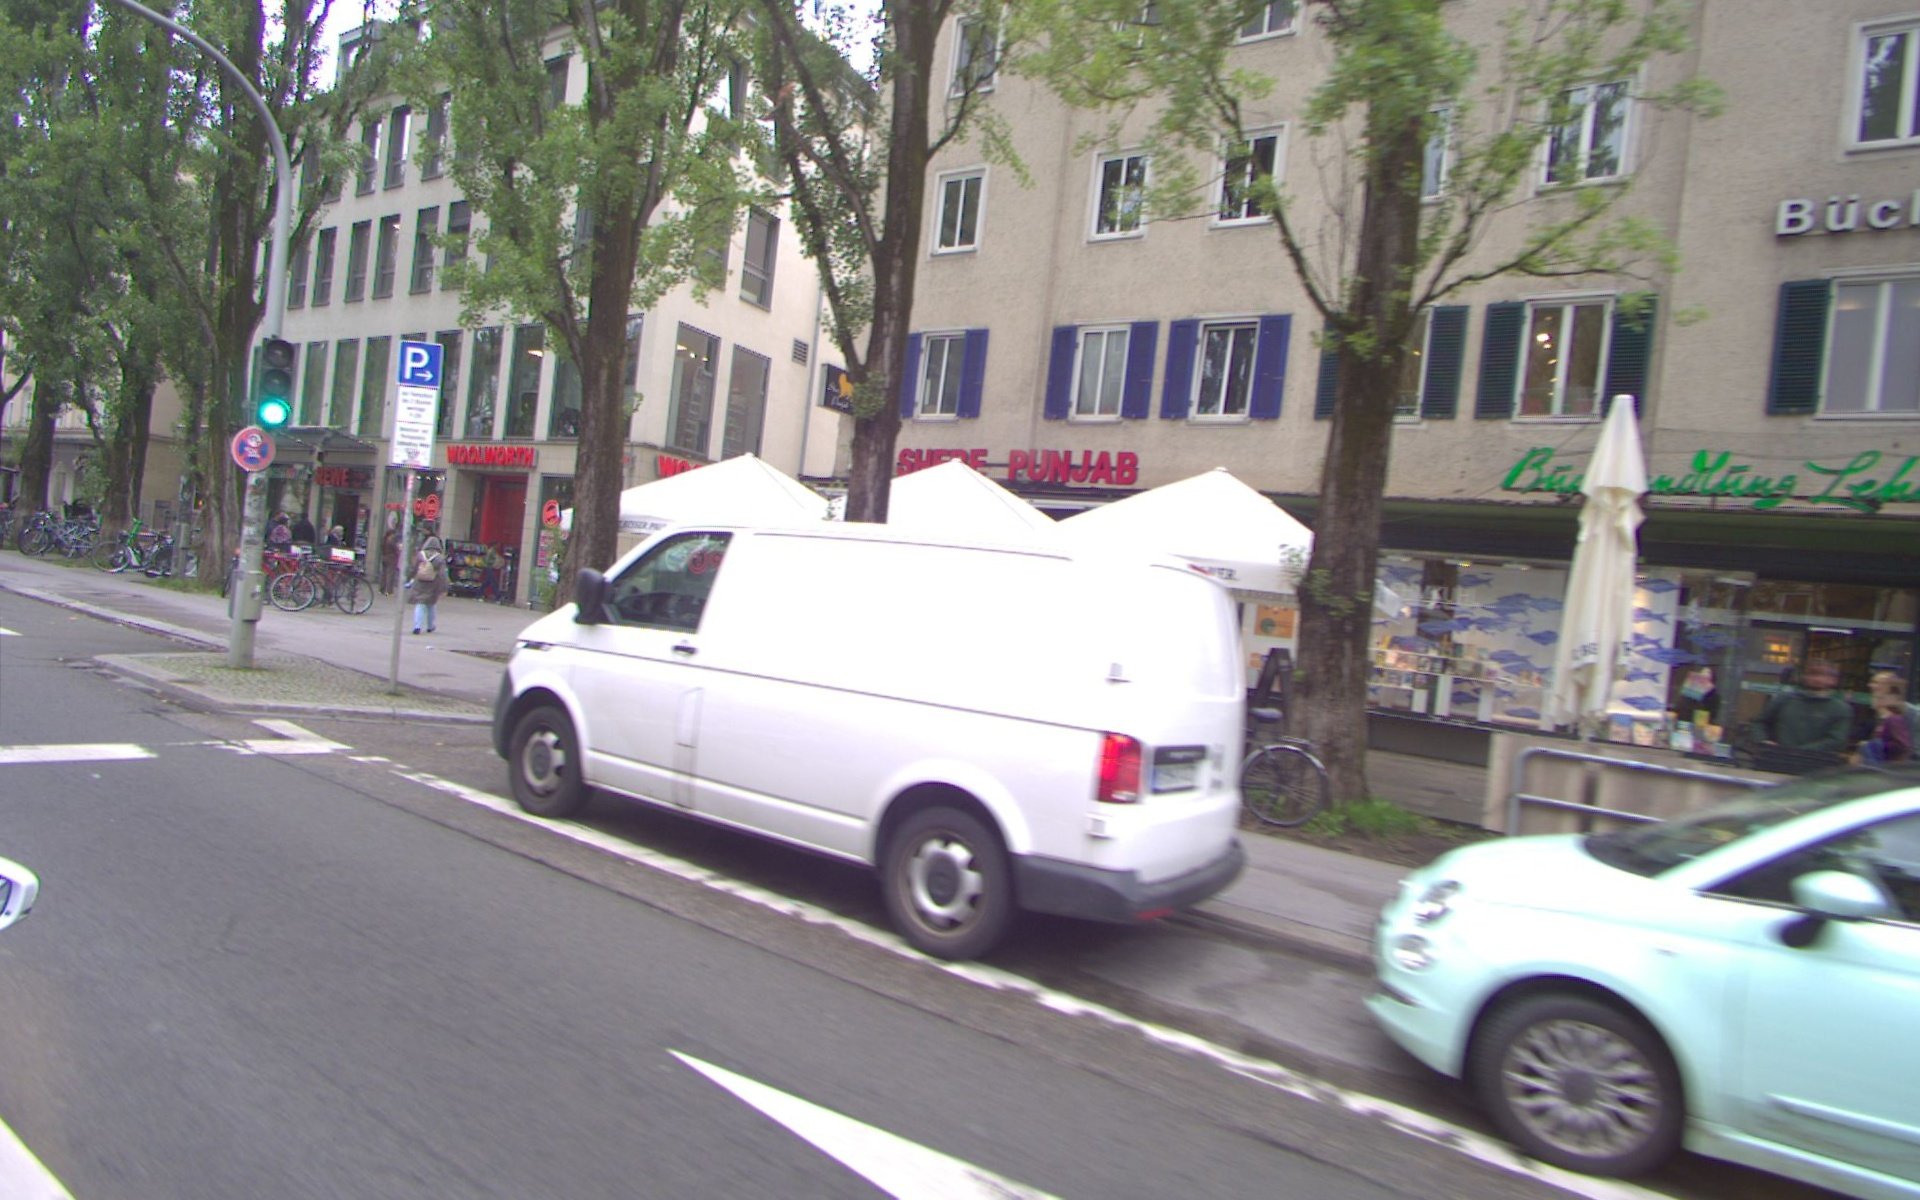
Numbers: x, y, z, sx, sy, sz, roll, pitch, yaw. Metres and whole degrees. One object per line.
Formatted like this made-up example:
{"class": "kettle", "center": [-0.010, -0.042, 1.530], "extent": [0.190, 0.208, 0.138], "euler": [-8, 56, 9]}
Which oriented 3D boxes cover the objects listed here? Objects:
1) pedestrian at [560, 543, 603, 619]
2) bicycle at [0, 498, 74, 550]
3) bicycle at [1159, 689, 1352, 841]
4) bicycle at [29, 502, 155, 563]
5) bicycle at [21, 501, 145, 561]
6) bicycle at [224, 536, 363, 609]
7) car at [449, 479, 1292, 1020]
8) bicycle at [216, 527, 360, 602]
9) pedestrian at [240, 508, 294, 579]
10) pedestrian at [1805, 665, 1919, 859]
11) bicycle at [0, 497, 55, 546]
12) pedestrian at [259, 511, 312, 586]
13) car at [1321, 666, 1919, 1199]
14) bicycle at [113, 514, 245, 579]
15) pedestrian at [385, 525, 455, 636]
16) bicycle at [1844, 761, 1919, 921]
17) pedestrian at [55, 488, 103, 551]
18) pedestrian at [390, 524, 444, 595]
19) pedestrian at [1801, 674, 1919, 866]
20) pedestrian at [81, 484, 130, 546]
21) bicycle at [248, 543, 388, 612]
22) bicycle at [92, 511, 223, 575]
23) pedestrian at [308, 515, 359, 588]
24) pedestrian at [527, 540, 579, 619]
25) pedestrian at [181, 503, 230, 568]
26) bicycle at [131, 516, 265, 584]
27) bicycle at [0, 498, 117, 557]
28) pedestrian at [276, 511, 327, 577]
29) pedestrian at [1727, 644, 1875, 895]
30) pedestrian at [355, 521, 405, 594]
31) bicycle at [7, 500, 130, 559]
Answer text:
{"class": "pedestrian", "center": [-8.962, -0.451, 23.848], "extent": [0.747, 1.707, 0.673], "euler": [5, 1, -16]}
{"class": "bicycle", "center": [-25.520, -2.104, 27.177], "extent": [0.616, 1.219, 2.230], "euler": [7, 0, 30]}
{"class": "bicycle", "center": [2.469, 1.355, 8.468], "extent": [1.429, 1.009, 0.349], "euler": [6, 2, 28]}
{"class": "bicycle", "center": [-21.606, -1.651, 25.098], "extent": [0.616, 1.219, 2.230], "euler": [7, 0, 30]}
{"class": "bicycle", "center": [-22.245, -1.721, 25.571], "extent": [0.616, 1.219, 2.230], "euler": [7, 0, 30]}
{"class": "bicycle", "center": [-12.297, -0.485, 18.635], "extent": [0.616, 1.147, 1.998], "euler": [7, 0, 30]}
{"class": "car", "center": [-0.727, 0.514, 5.953], "extent": [4.652, 1.970, 1.790], "euler": [7, 0, 32]}
{"class": "bicycle", "center": [-13.100, -0.663, 19.702], "extent": [0.616, 1.219, 2.230], "euler": [7, 0, 30]}
{"class": "pedestrian", "center": [-19.602, -1.596, 28.459], "extent": [0.871, 1.848, 0.722], "euler": [7, -1, 22]}
{"class": "pedestrian", "center": [9.502, 1.646, 10.416], "extent": [0.862, 1.818, 0.772], "euler": [7, 1, 32]}
{"class": "bicycle", "center": [-26.676, -2.237, 27.873], "extent": [0.616, 1.219, 2.230], "euler": [7, 0, 30]}
{"class": "pedestrian", "center": [-16.291, -1.244, 24.309], "extent": [0.745, 1.707, 0.674], "euler": [6, 1, 28]}
{"class": "car", "center": [3.246, 1.220, 3.349], "extent": [3.465, 1.510, 1.543], "euler": [7, -1, 33]}
{"class": "bicycle", "center": [-17.716, -1.190, 22.888], "extent": [0.616, 1.219, 2.230], "euler": [7, 0, 30]}
{"class": "pedestrian", "center": [-8.841, -0.307, 16.498], "extent": [0.747, 1.707, 0.747], "euler": [5, 1, -16]}
{"class": "bicycle", "center": [7.027, 1.732, 6.810], "extent": [1.429, 1.009, 0.349], "euler": [6, 2, 28]}
{"class": "pedestrian", "center": [-27.949, -2.553, 31.925], "extent": [0.871, 1.848, 0.639], "euler": [7, -1, 22]}
{"class": "pedestrian", "center": [-13.869, -1.034, 25.702], "extent": [0.864, 1.699, 0.797], "euler": [6, 1, 37]}
{"class": "pedestrian", "center": [8.957, 1.626, 9.828], "extent": [0.862, 1.698, 0.798], "euler": [7, 1, 32]}
{"class": "pedestrian", "center": [-27.710, -2.748, 32.624], "extent": [0.871, 1.848, 0.722], "euler": [7, -1, 22]}
{"class": "bicycle", "center": [-11.544, -0.380, 18.162], "extent": [0.616, 1.045, 1.998], "euler": [7, 0, 30]}
{"class": "bicycle", "center": [-18.631, -1.301, 23.422], "extent": [0.616, 1.219, 2.230], "euler": [7, 0, 30]}
{"class": "pedestrian", "center": [-15.559, -1.195, 24.991], "extent": [0.664, 1.707, 0.756], "euler": [6, 1, 33]}
{"class": "pedestrian", "center": [-9.339, -0.463, 23.106], "extent": [0.665, 1.707, 0.755], "euler": [6, 1, 39]}
{"class": "pedestrian", "center": [-23.662, -2.018, 31.556], "extent": [0.871, 1.848, 0.722], "euler": [7, -1, 22]}
{"class": "bicycle", "center": [-16.817, -1.084, 22.273], "extent": [0.616, 1.219, 2.230], "euler": [7, 0, 30]}
{"class": "bicycle", "center": [-23.609, -1.871, 26.332], "extent": [0.616, 1.219, 2.230], "euler": [7, 0, 30]}
{"class": "pedestrian", "center": [-19.796, -1.681, 30.262], "extent": [0.871, 1.848, 0.722], "euler": [7, -1, 22]}
{"class": "pedestrian", "center": [7.074, 1.381, 8.474], "extent": [0.737, 1.888, 0.955], "euler": [7, 1, 41]}
{"class": "pedestrian", "center": [-14.457, -1.056, 25.069], "extent": [0.665, 1.707, 0.756], "euler": [6, 1, 37]}
{"class": "bicycle", "center": [-22.933, -1.796, 25.944], "extent": [0.616, 1.219, 2.230], "euler": [7, 0, 30]}
